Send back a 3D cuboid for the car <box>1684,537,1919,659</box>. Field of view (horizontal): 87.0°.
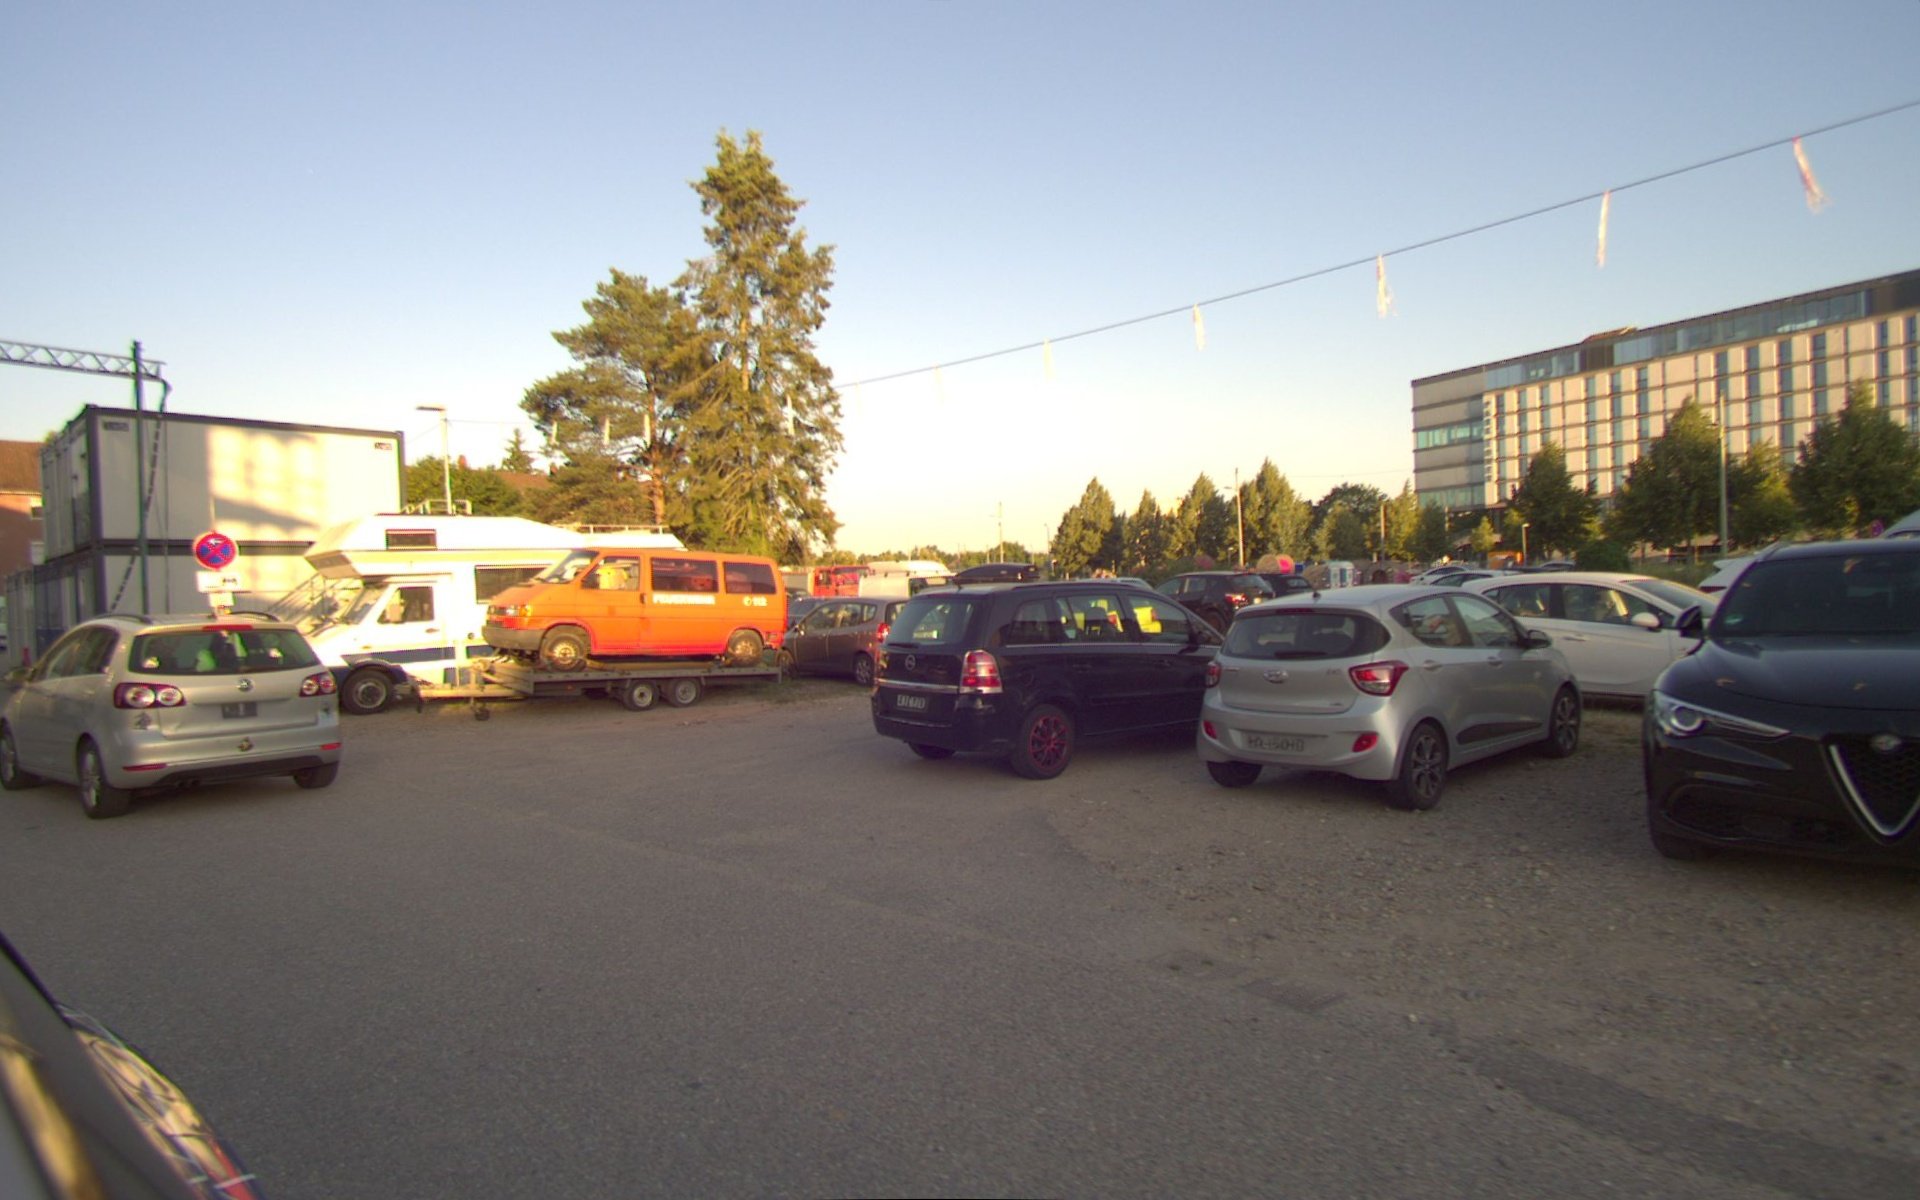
[{"bbox_3d":[13.394,-0.052,14.665,1.818,1.643,4.329,-2,1,-31],"label":"car"}]

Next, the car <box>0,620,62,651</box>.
[{"bbox_3d":[-53.499,2.033,57.385,1.810,1.527,3.676,-2,3,44],"label":"car"}]

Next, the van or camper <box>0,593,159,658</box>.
[{"bbox_3d":[-43.948,1.231,50.088,2.408,2.659,6.384,-2,2,44],"label":"van or camper"}]

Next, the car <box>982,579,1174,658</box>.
[{"bbox_3d":[2.504,0.388,22.179,1.821,1.534,3.943,-2,1,-41],"label":"car"}]

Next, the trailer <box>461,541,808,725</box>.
[{"bbox_3d":[-5.059,0.356,16.129,4.733,2.450,2.137,-4,3,-41],"label":"trailer"}]

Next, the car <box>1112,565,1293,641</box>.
[{"bbox_3d":[5.851,0.075,24.722,1.821,1.681,3.943,-2,1,-41],"label":"car"}]

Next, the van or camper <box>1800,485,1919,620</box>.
[{"bbox_3d":[18.520,-0.889,17.592,1.818,2.411,5.700,-2,1,-31],"label":"van or camper"}]

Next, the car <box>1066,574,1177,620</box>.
[{"bbox_3d":[7.262,-0.112,46.104,2.023,1.951,5.120,-2,1,-33],"label":"car"}]

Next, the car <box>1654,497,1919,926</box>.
[{"bbox_3d":[5.157,0.376,5.236,4.042,1.640,1.822,-2,0,-45],"label":"car"}]

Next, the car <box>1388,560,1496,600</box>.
[{"bbox_3d":[20.209,-0.828,42.574,1.541,1.536,3.887,-2,1,-30],"label":"car"}]

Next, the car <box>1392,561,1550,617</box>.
[{"bbox_3d":[15.378,-0.313,30.647,1.636,1.551,3.949,-2,1,-33],"label":"car"}]

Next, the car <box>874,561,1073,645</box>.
[{"bbox_3d":[0.183,0.059,20.578,1.821,1.534,3.943,-2,1,-42],"label":"car"}]

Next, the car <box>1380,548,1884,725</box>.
[{"bbox_3d":[7.013,0.312,10.999,1.819,1.534,4.161,-2,1,-35],"label":"car"}]

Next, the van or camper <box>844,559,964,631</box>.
[{"bbox_3d":[-2.408,-0.198,41.543,2.173,2.728,5.762,-2,1,-34],"label":"van or camper"}]

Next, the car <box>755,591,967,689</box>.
[{"bbox_3d":[-1.888,0.675,18.419,1.821,1.534,3.943,-2,1,-42],"label":"car"}]

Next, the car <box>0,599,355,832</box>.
[{"bbox_3d":[-7.367,0.872,9.200,4.277,1.632,1.656,-2,1,36],"label":"car"}]

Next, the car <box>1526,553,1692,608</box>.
[{"bbox_3d":[23.549,-0.666,36.938,1.656,1.856,4.852,-2,1,-31],"label":"car"}]

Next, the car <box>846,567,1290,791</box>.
[{"bbox_3d":[1.136,0.566,9.579,3.985,1.632,1.853,-2,1,-38],"label":"car"}]

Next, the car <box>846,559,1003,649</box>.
[{"bbox_3d":[-1.078,0.175,27.796,1.819,2.165,4.832,-2,-2,-36],"label":"car"}]

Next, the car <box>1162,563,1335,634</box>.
[{"bbox_3d":[7.446,-0.031,26.366,1.821,1.681,3.943,-2,1,-41],"label":"car"}]

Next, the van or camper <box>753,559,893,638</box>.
[{"bbox_3d":[-5.333,-0.044,38.746,2.230,2.791,5.803,-2,1,-45],"label":"van or camper"}]

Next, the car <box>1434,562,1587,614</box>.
[{"bbox_3d":[17.436,-0.353,32.214,1.636,1.551,3.949,-2,1,-33],"label":"car"}]

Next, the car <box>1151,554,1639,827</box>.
[{"bbox_3d":[3.528,0.517,7.934,3.876,1.532,1.812,-4,0,-38],"label":"car"}]

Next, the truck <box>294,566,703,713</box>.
[{"bbox_3d":[-7.724,0.526,17.488,5.943,2.058,2.357,-3,1,-45],"label":"truck"}]

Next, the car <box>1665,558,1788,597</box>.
[{"bbox_3d":[33.618,-0.964,44.489,1.636,1.551,3.949,-2,1,-33],"label":"car"}]

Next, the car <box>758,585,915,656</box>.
[{"bbox_3d":[-3.356,0.584,26.563,1.820,1.580,4.831,-2,-2,-38],"label":"car"}]
